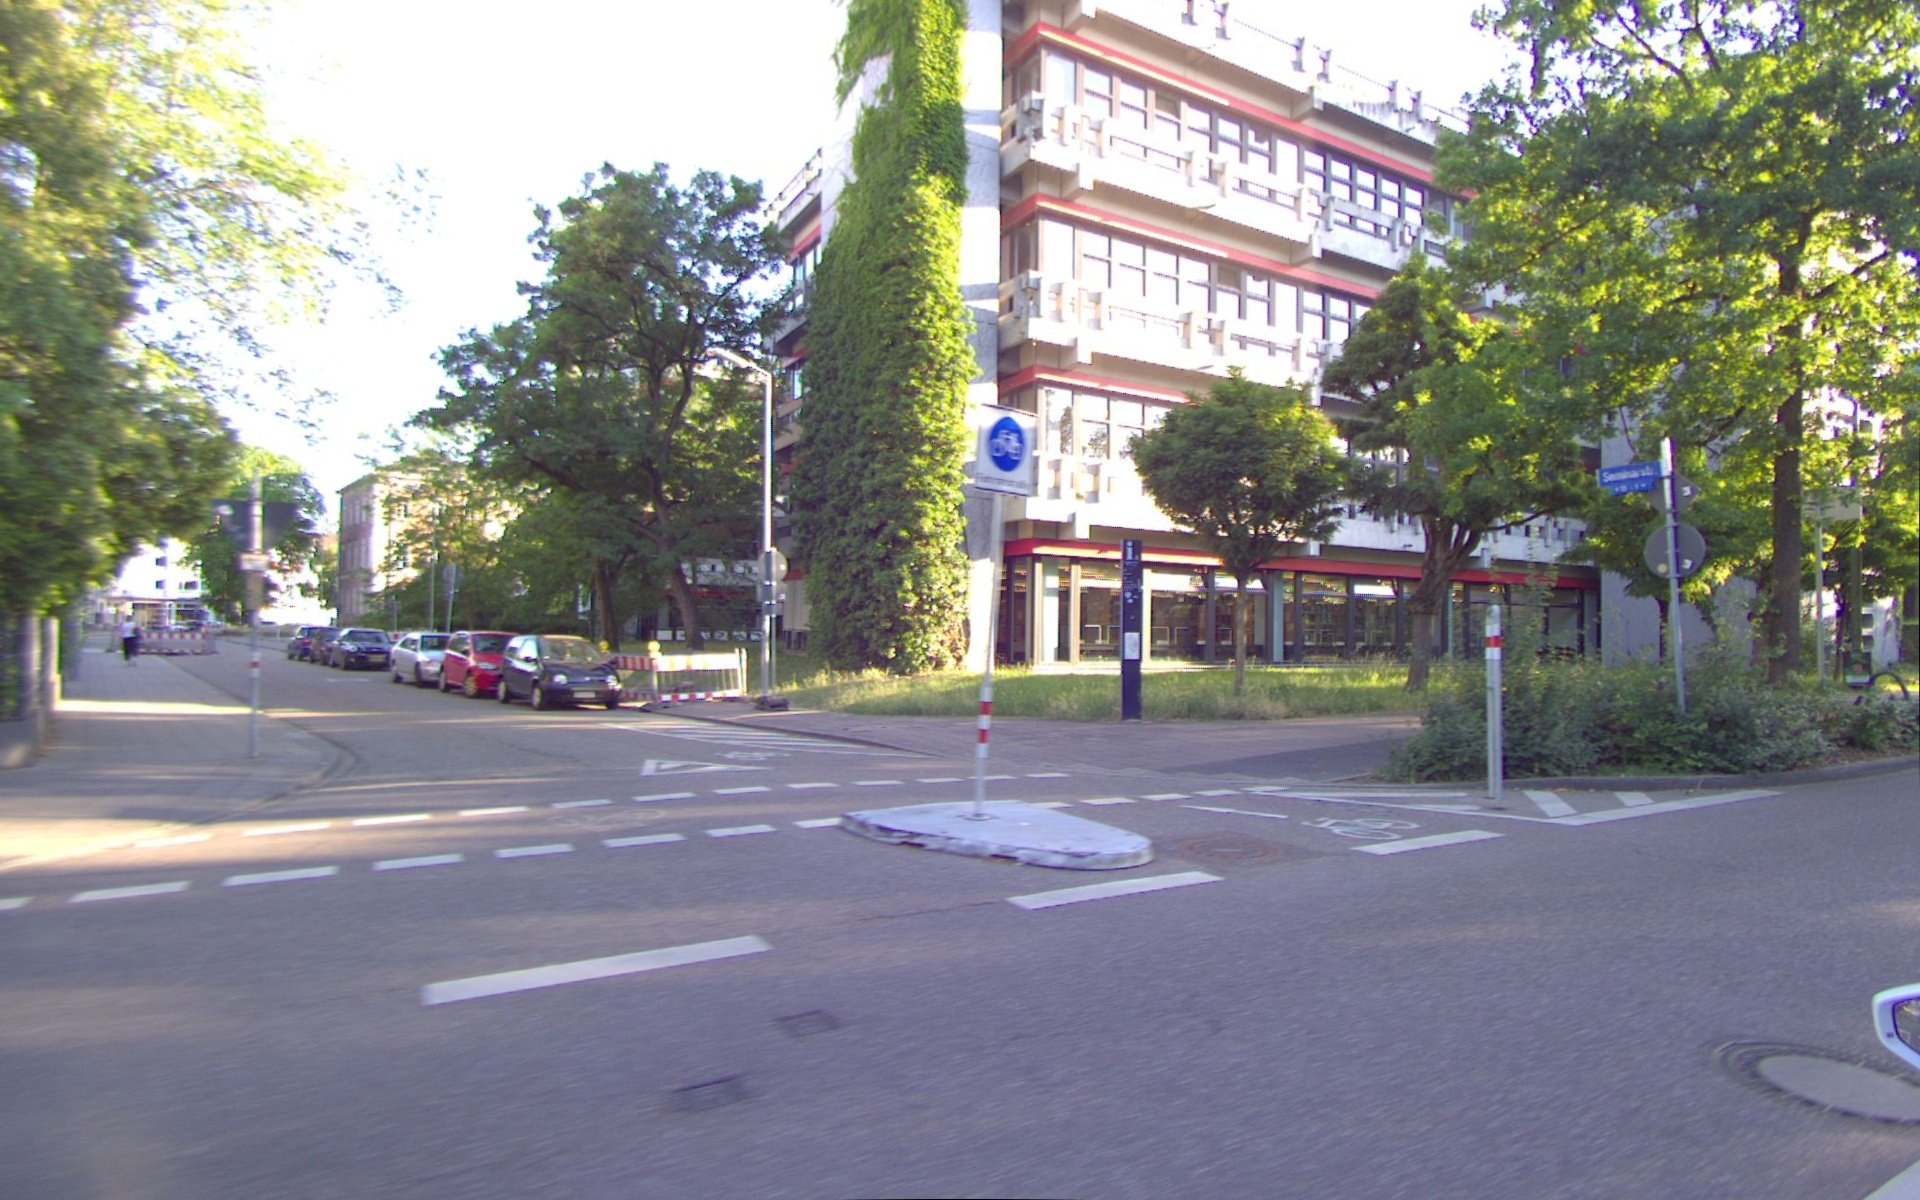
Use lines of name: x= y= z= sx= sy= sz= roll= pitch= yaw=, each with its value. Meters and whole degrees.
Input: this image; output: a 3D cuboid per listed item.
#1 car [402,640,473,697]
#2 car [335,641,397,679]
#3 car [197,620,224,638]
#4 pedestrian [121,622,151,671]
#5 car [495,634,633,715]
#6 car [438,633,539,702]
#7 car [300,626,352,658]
car: x=-13.691 y=1.772 z=26.276 sx=1.089 sy=1.386 sz=2.699 roll=4 pitch=-4 yaw=-38
car: x=-20.680 y=2.047 z=34.945 sx=1.487 sy=1.238 sz=2.870 roll=2 pitch=-2 yaw=-38
car: x=-75.378 y=2.954 z=101.013 sx=1.983 sy=1.750 sz=3.956 roll=2 pitch=-2 yaw=-39
pedestrian: x=-27.546 y=1.551 z=33.569 sx=0.730 sy=1.632 sz=0.702 roll=2 pitch=-2 yaw=-39
car: x=-8.091 y=1.477 z=20.412 sx=1.671 sy=1.476 sz=3.239 roll=4 pitch=-4 yaw=-39
car: x=-10.991 y=1.530 z=23.335 sx=1.363 sy=1.476 sz=3.240 roll=4 pitch=-4 yaw=-38
car: x=-25.769 y=1.691 z=40.820 sx=1.487 sy=1.238 sz=2.870 roll=2 pitch=-2 yaw=-38
